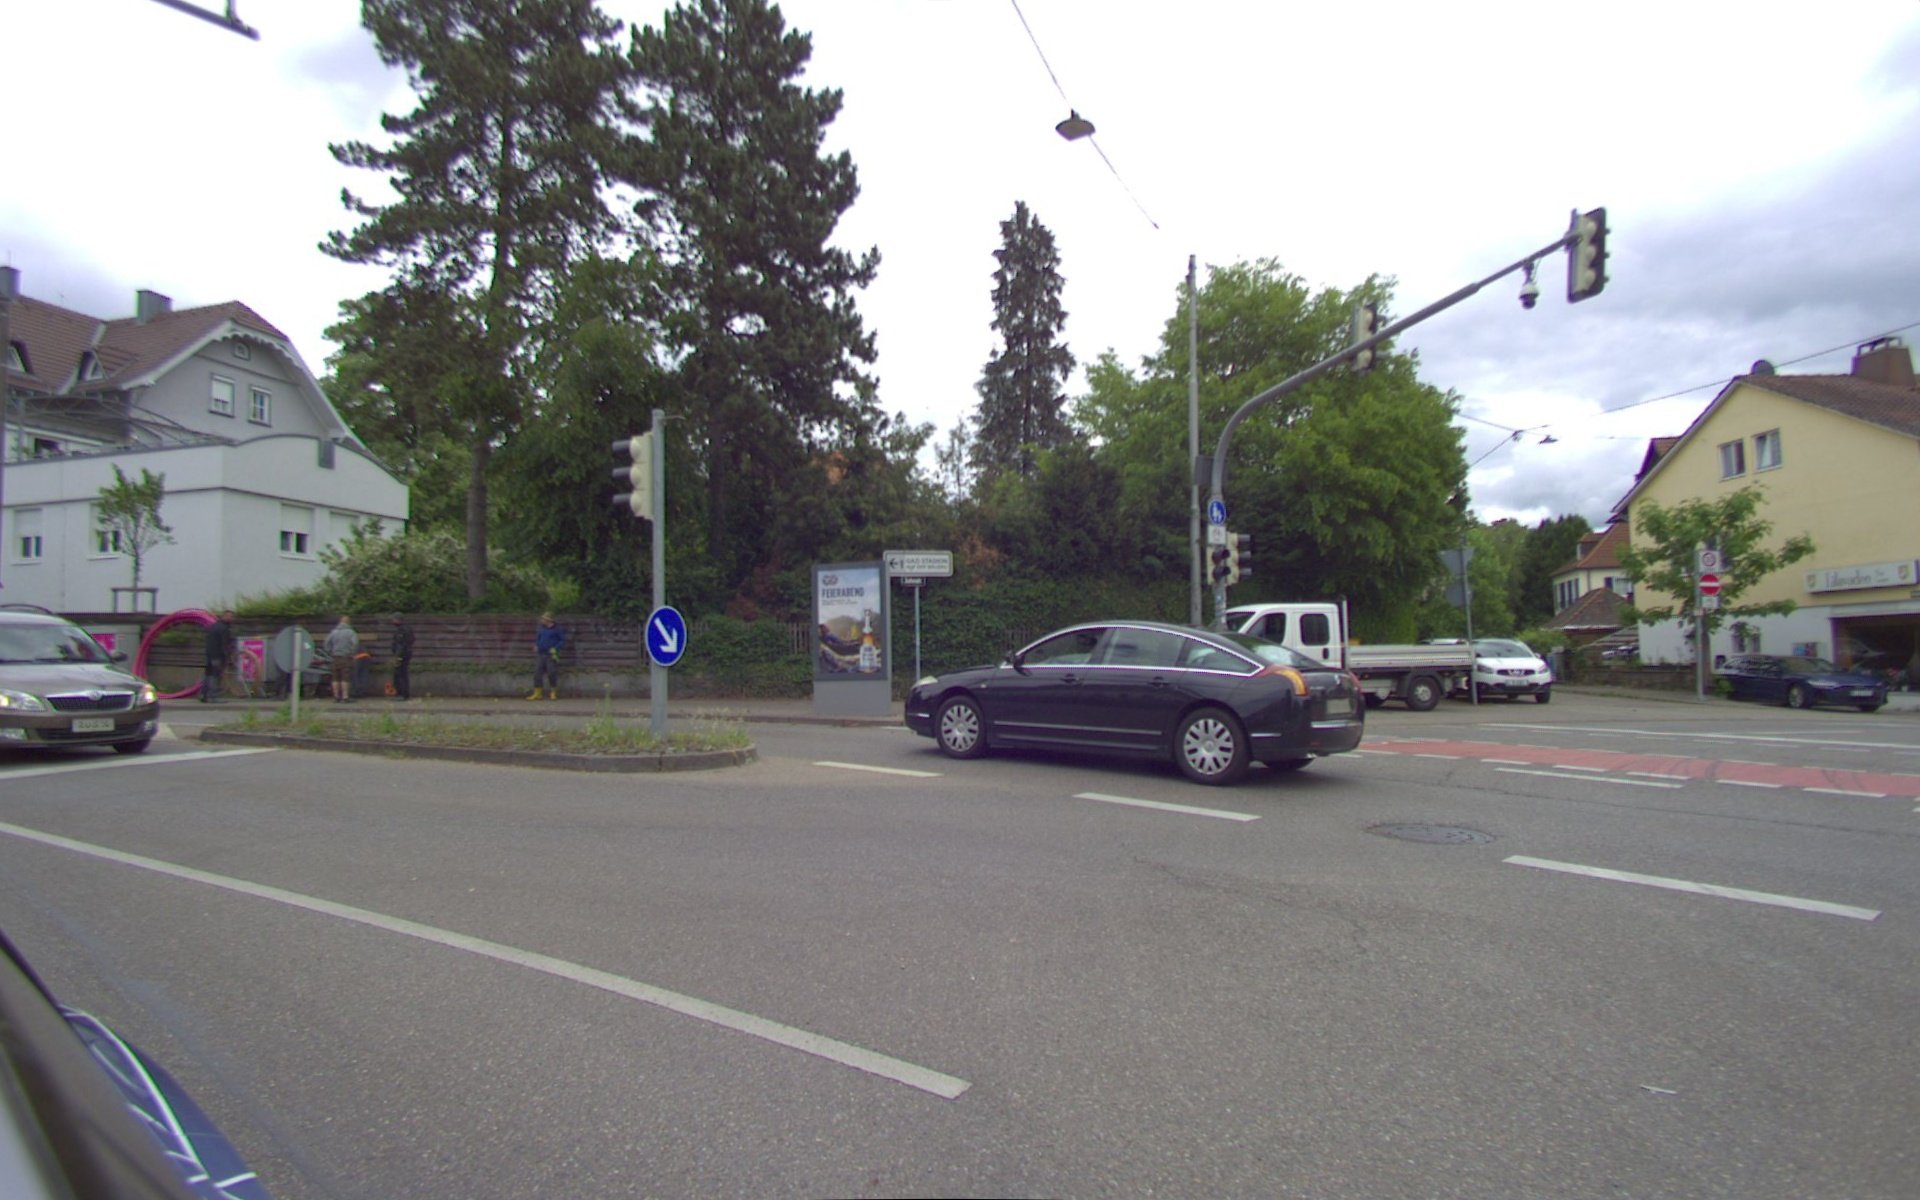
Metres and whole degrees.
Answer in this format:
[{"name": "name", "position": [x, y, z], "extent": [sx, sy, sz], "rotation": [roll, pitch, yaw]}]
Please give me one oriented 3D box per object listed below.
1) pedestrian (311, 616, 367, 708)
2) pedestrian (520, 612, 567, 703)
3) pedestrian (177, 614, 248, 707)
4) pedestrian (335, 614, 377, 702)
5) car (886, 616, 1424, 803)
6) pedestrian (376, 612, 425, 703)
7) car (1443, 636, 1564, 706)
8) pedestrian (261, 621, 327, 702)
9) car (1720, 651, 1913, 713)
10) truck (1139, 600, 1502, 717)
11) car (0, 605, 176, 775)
[{"name": "pedestrian", "position": [-12.468, 1.236, 20.325], "extent": [0.659, 1.802, 0.611], "rotation": [0, -3, 8]}, {"name": "pedestrian", "position": [-8.615, 1.178, 20.944], "extent": [0.605, 1.849, 0.677], "rotation": [0, -3, 6]}, {"name": "pedestrian", "position": [-15.039, 1.212, 20.370], "extent": [0.680, 1.828, 0.878], "rotation": [0, -3, 8]}, {"name": "pedestrian", "position": [-12.751, 1.226, 21.387], "extent": [0.499, 1.827, 0.508], "rotation": [0, -3, 8]}, {"name": "car", "position": [1.714, 0.937, 10.226], "extent": [5.056, 1.433, 1.972], "rotation": [-2, -3, 42]}, {"name": "pedestrian", "position": [-11.490, 1.176, 20.791], "extent": [0.605, 1.849, 0.602], "rotation": [0, -3, 7]}, {"name": "car", "position": [13.756, 1.768, 25.859], "extent": [1.984, 1.625, 3.976], "rotation": [-1, -3, 18]}, {"name": "pedestrian", "position": [-14.074, 1.286, 21.402], "extent": [0.742, 1.666, 0.878], "rotation": [0, -3, 8]}, {"name": "car", "position": [22.393, 2.101, 26.700], "extent": [1.857, 1.460, 3.994], "rotation": [0, -3, 5]}, {"name": "truck", "position": [7.308, 1.188, 20.912], "extent": [6.610, 2.205, 2.534], "rotation": [1, -2, -9]}, {"name": "car", "position": [-10.476, 0.884, 10.906], "extent": [3.979, 1.592, 1.604], "rotation": [-1, -2, 26]}]
